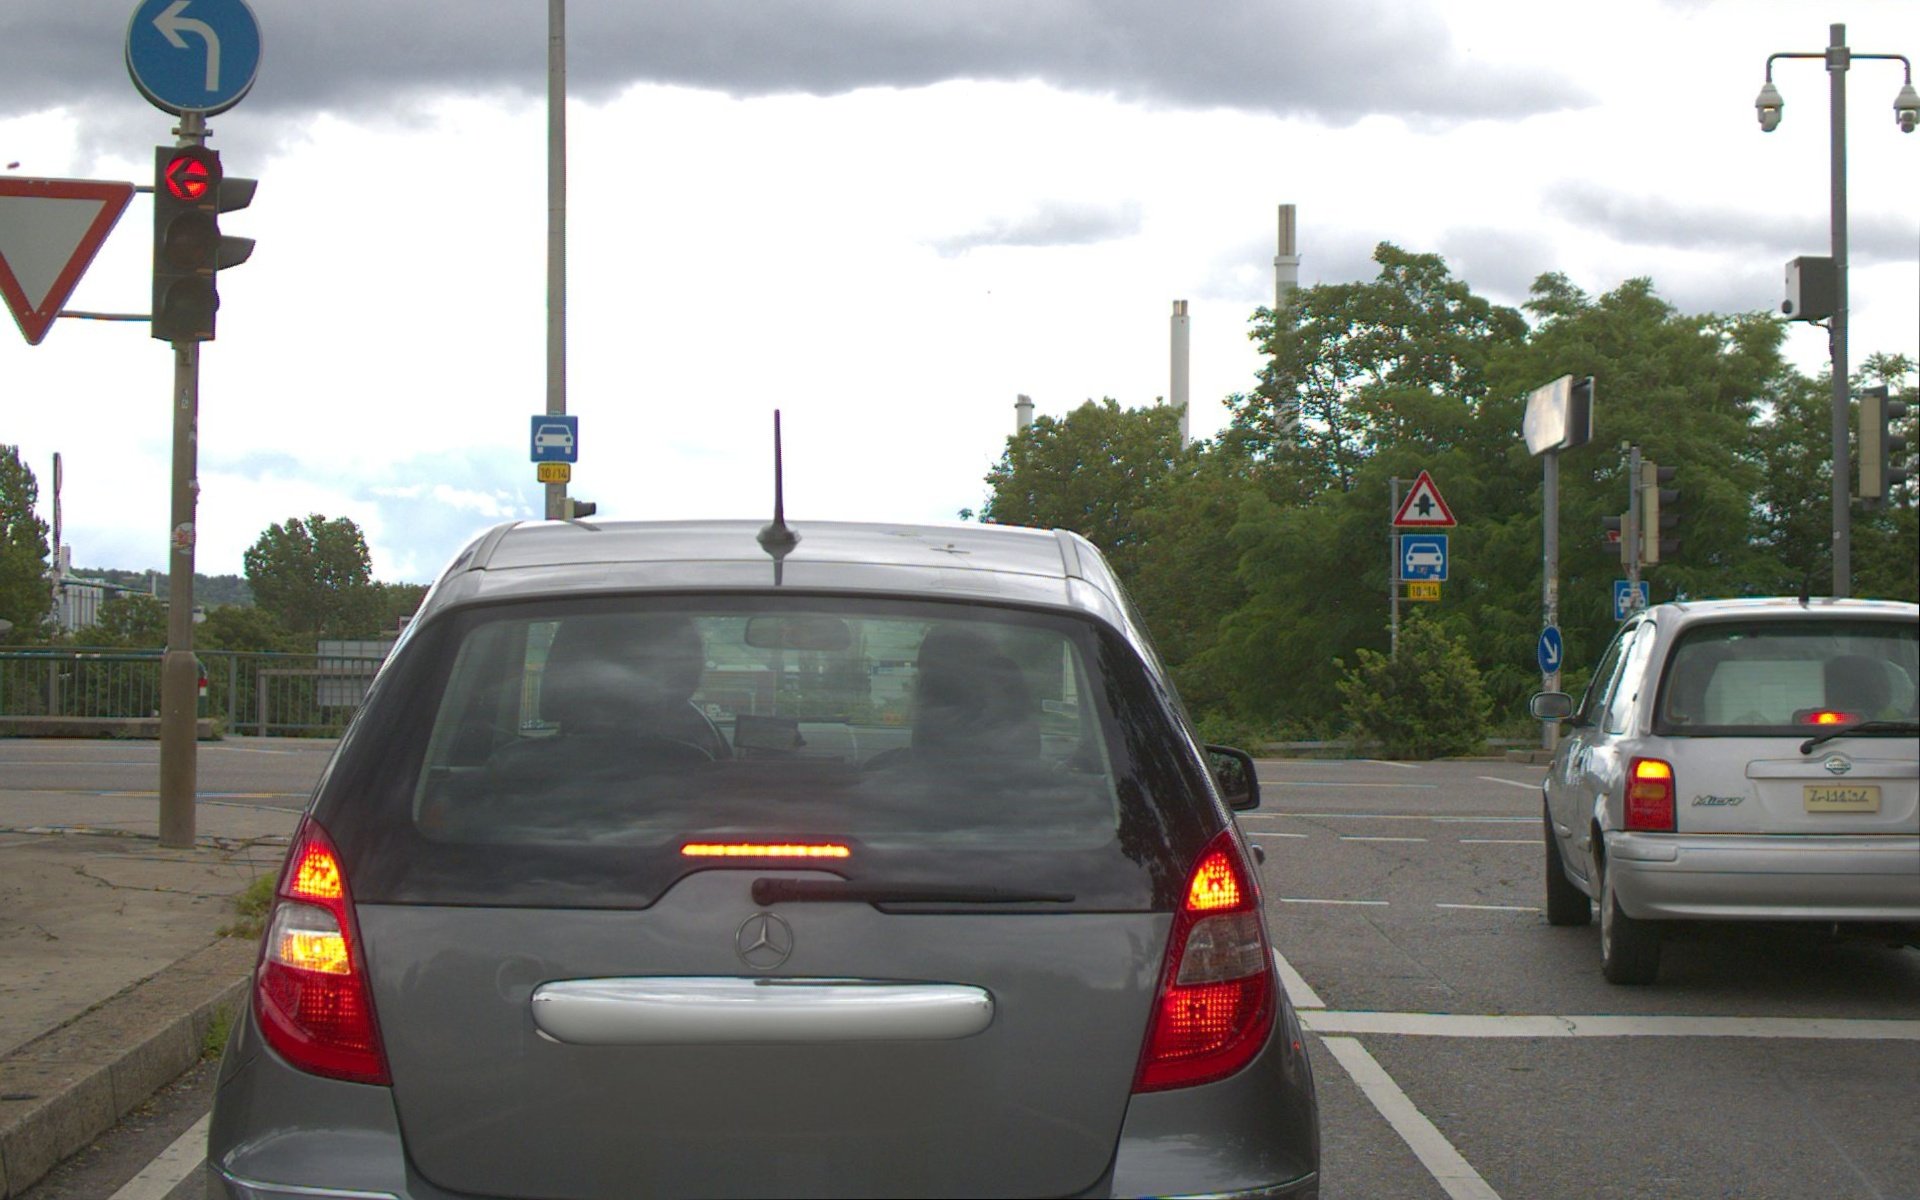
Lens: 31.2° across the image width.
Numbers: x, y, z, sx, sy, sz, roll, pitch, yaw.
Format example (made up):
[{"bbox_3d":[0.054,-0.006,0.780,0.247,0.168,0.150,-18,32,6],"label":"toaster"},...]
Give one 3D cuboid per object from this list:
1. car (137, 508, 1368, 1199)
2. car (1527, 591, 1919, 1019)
[{"bbox_3d":[-0.313,0.632,6.664,1.739,1.538,3.541,1,1,0],"label":"car"},{"bbox_3d":[3.179,0.697,13.475,1.585,1.427,3.442,0,1,4],"label":"car"}]
